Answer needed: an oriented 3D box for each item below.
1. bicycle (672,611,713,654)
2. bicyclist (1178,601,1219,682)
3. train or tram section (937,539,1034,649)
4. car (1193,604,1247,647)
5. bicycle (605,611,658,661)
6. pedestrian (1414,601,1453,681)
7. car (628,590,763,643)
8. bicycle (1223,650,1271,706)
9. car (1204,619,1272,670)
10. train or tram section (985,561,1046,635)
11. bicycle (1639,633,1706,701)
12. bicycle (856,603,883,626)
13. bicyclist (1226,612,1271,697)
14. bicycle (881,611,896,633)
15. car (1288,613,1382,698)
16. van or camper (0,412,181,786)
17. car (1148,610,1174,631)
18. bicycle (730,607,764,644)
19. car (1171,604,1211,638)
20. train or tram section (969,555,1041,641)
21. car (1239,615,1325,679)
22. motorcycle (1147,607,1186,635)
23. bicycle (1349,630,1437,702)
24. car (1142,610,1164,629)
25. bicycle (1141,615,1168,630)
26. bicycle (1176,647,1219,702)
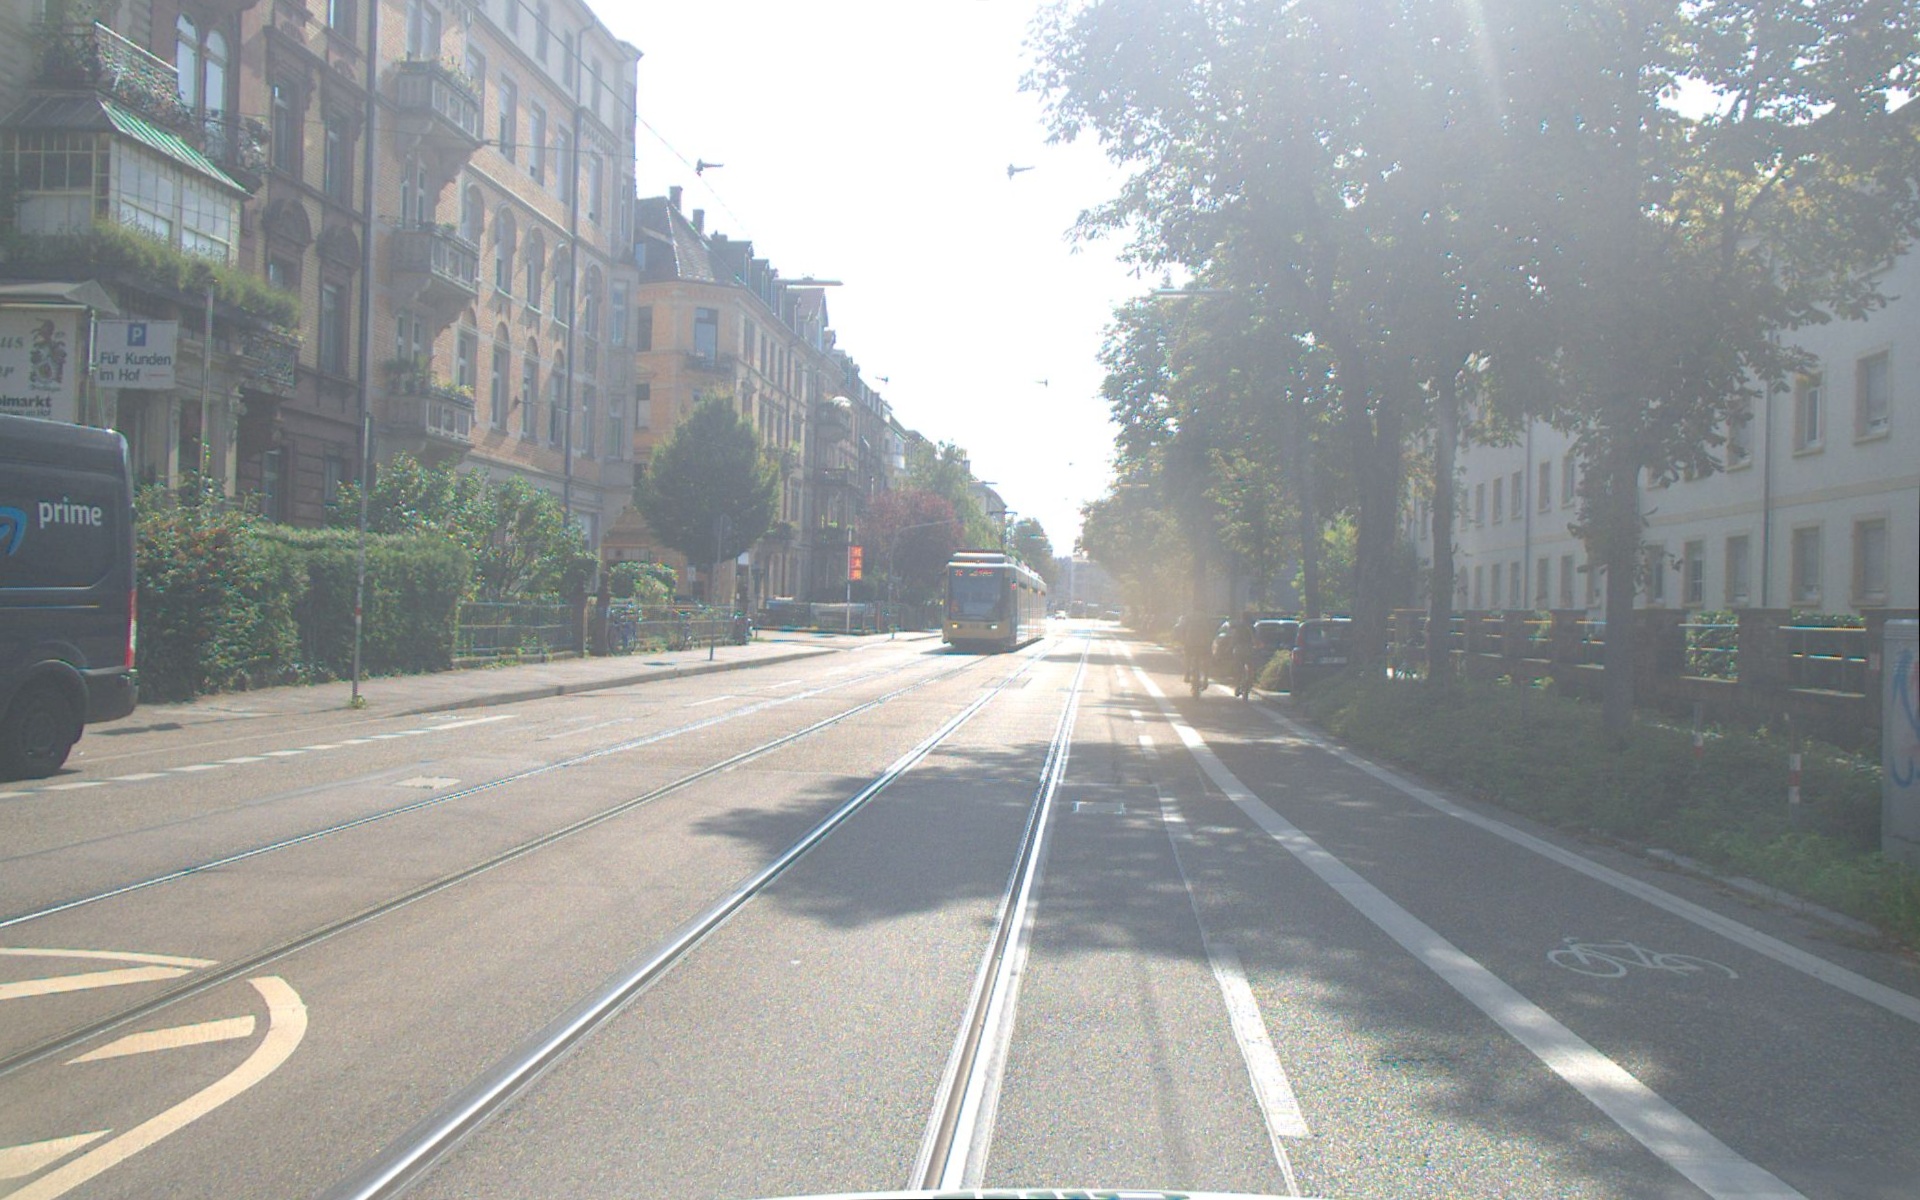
[{"bbox_3d":[-7.221,0.865,44.751,0.533,1.076,1.841,5,0,6],"label":"bicycle"},{"bbox_3d":[4.377,0.750,30.386,0.613,1.425,0.930,3,0,4],"label":"bicyclist"},{"bbox_3d":[1.200,-0.165,62.771,2.677,3.567,15.440,2,0,4],"label":"train or tram section"},{"bbox_3d":[9.639,0.941,61.619,1.654,1.528,4.098,-1,-1,4],"label":"car"},{"bbox_3d":[-7.692,0.826,38.832,0.594,1.076,1.841,5,0,6],"label":"bicycle"},{"bbox_3d":[10.777,0.919,37.633,0.736,1.779,0.879,2,0,11],"label":"pedestrian"},{"bbox_3d":[-8.827,0.549,55.410,4.050,1.570,2.065,2,-1,4],"label":"car"},{"bbox_3d":[5.289,1.417,30.544,0.641,0.924,1.776,3,0,4],"label":"bicycle"},{"bbox_3d":[8.571,1.350,51.263,1.654,1.460,4.339,-1,0,4],"label":"car"},{"bbox_3d":[3.005,-0.071,86.629,2.677,3.567,10.781,2,0,4],"label":"train or tram section"},{"bbox_3d":[12.193,1.127,28.345,0.512,1.092,1.729,2,0,6],"label":"bicycle"},{"bbox_3d":[-4.709,0.750,85.815,1.329,1.078,0.417,3,-1,2],"label":"bicycle"},{"bbox_3d":[5.321,0.998,30.530,0.641,1.499,0.909,3,0,4],"label":"bicyclist"},{"bbox_3d":[-3.720,1.167,86.762,0.498,1.127,2.004,1,0,5],"label":"bicycle"},{"bbox_3d":[7.327,1.045,32.586,1.610,1.567,3.845,0,-1,10],"label":"car"},{"bbox_3d":[-8.110,-0.038,10.996,2.006,2.691,6.094,1,-1,11],"label":"van or camper"},{"bbox_3d":[14.374,1.463,118.530,1.690,1.531,3.986,0,-1,5],"label":"car"},{"bbox_3d":[-6.646,0.779,51.758,0.533,1.076,1.841,5,0,6],"label":"bicycle"},{"bbox_3d":[11.195,1.001,80.277,1.707,1.588,4.722,1,-1,5],"label":"car"},{"bbox_3d":[2.168,-0.079,75.827,2.677,3.567,10.781,2,0,4],"label":"train or tram section"},{"bbox_3d":[7.803,1.114,40.351,1.610,1.473,4.248,0,-1,5],"label":"car"},{"bbox_3d":[12.814,1.279,102.767,0.905,1.703,2.384,0,0,-40],"label":"motorcycle"},{"bbox_3d":[6.867,1.039,26.206,1.715,1.092,0.517,2,0,-44],"label":"bicycle"},{"bbox_3d":[15.799,1.579,135.505,1.734,1.499,3.976,1,-1,5],"label":"car"},{"bbox_3d":[15.495,1.786,131.856,2.064,1.125,0.563,2,-1,-2],"label":"bicycle"},{"bbox_3d":[4.349,1.354,30.371,0.613,0.924,1.526,3,0,4],"label":"bicycle"}]
